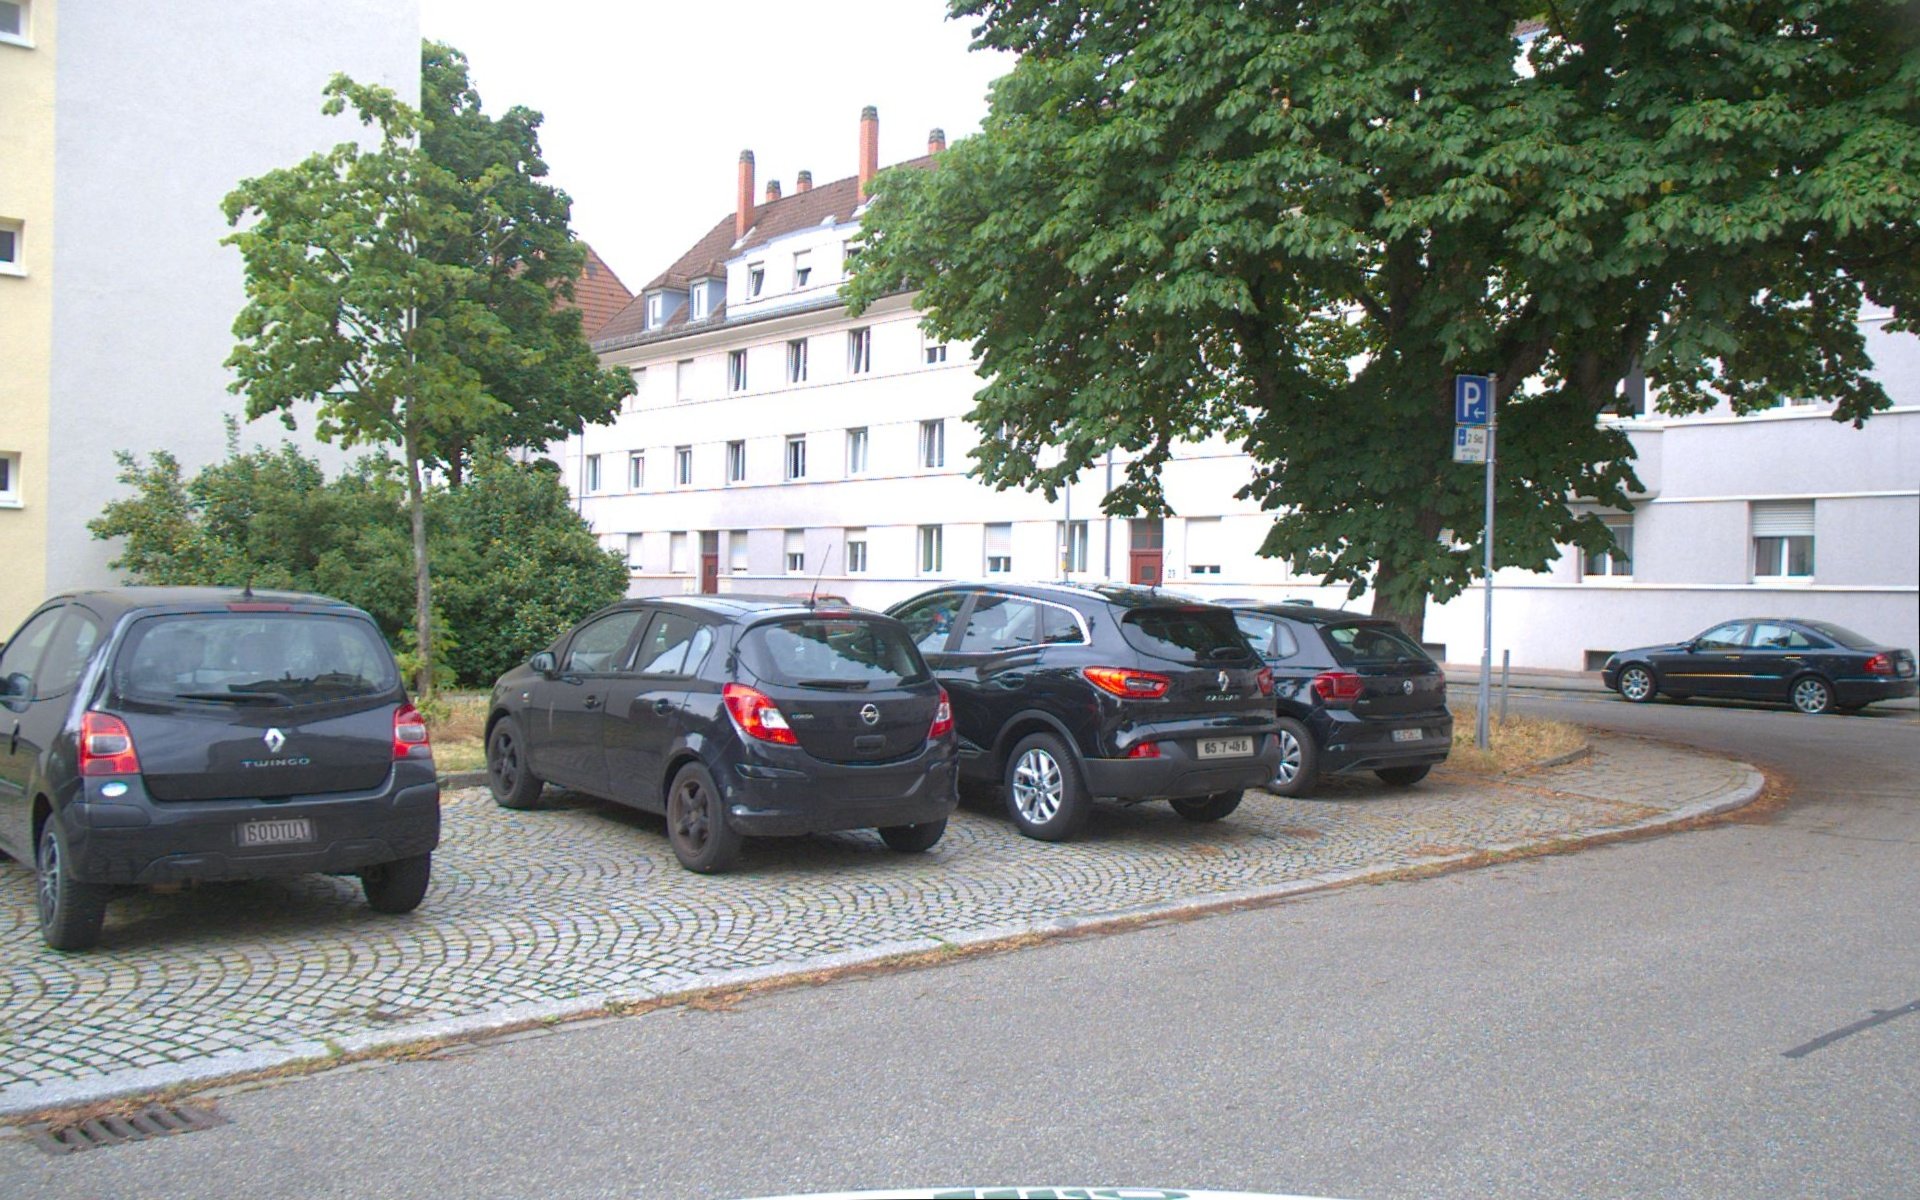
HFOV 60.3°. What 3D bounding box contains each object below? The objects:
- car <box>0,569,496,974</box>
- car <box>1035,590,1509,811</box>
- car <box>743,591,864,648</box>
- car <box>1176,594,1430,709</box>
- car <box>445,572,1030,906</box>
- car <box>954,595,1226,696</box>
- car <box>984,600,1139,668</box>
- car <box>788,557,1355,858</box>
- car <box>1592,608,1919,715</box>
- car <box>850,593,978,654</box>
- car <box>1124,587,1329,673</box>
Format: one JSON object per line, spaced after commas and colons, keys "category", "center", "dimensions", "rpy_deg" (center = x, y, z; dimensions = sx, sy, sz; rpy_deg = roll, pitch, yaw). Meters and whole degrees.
{"category": "car", "center": [-4.167, 0.637, 8.709], "dimensions": [1.821, 1.489, 4.501], "rpy_deg": [1, 1, -37]}
{"category": "car", "center": [2.553, 0.734, 14.247], "dimensions": [1.812, 1.605, 3.790], "rpy_deg": [0, 0, -38]}
{"category": "car", "center": [-4.586, 0.534, 47.984], "dimensions": [1.686, 1.552, 3.770], "rpy_deg": [0, 1, -40]}
{"category": "car", "center": [5.030, 0.740, 24.622], "dimensions": [1.513, 1.520, 3.543], "rpy_deg": [4, -2, -38]}
{"category": "car", "center": [-1.623, 0.680, 10.531], "dimensions": [1.821, 1.593, 4.301], "rpy_deg": [1, 1, -37]}
{"category": "car", "center": [2.144, 0.753, 28.490], "dimensions": [1.856, 1.490, 4.765], "rpy_deg": [4, -2, -39]}
{"category": "car", "center": [2.400, 0.773, 39.837], "dimensions": [1.557, 1.504, 3.816], "rpy_deg": [0, 1, -39]}
{"category": "car", "center": [0.623, 0.605, 11.894], "dimensions": [1.896, 1.727, 4.016], "rpy_deg": [1, 1, -37]}
{"category": "car", "center": [12.999, 0.926, 26.852], "dimensions": [1.736, 1.445, 4.875], "rpy_deg": [0, 1, -42]}
{"category": "car", "center": [-1.260, 0.599, 44.050], "dimensions": [1.556, 1.499, 3.645], "rpy_deg": [1, 0, -38]}
{"category": "car", "center": [5.769, 0.595, 36.116], "dimensions": [1.833, 1.703, 4.223], "rpy_deg": [0, 1, -42]}
